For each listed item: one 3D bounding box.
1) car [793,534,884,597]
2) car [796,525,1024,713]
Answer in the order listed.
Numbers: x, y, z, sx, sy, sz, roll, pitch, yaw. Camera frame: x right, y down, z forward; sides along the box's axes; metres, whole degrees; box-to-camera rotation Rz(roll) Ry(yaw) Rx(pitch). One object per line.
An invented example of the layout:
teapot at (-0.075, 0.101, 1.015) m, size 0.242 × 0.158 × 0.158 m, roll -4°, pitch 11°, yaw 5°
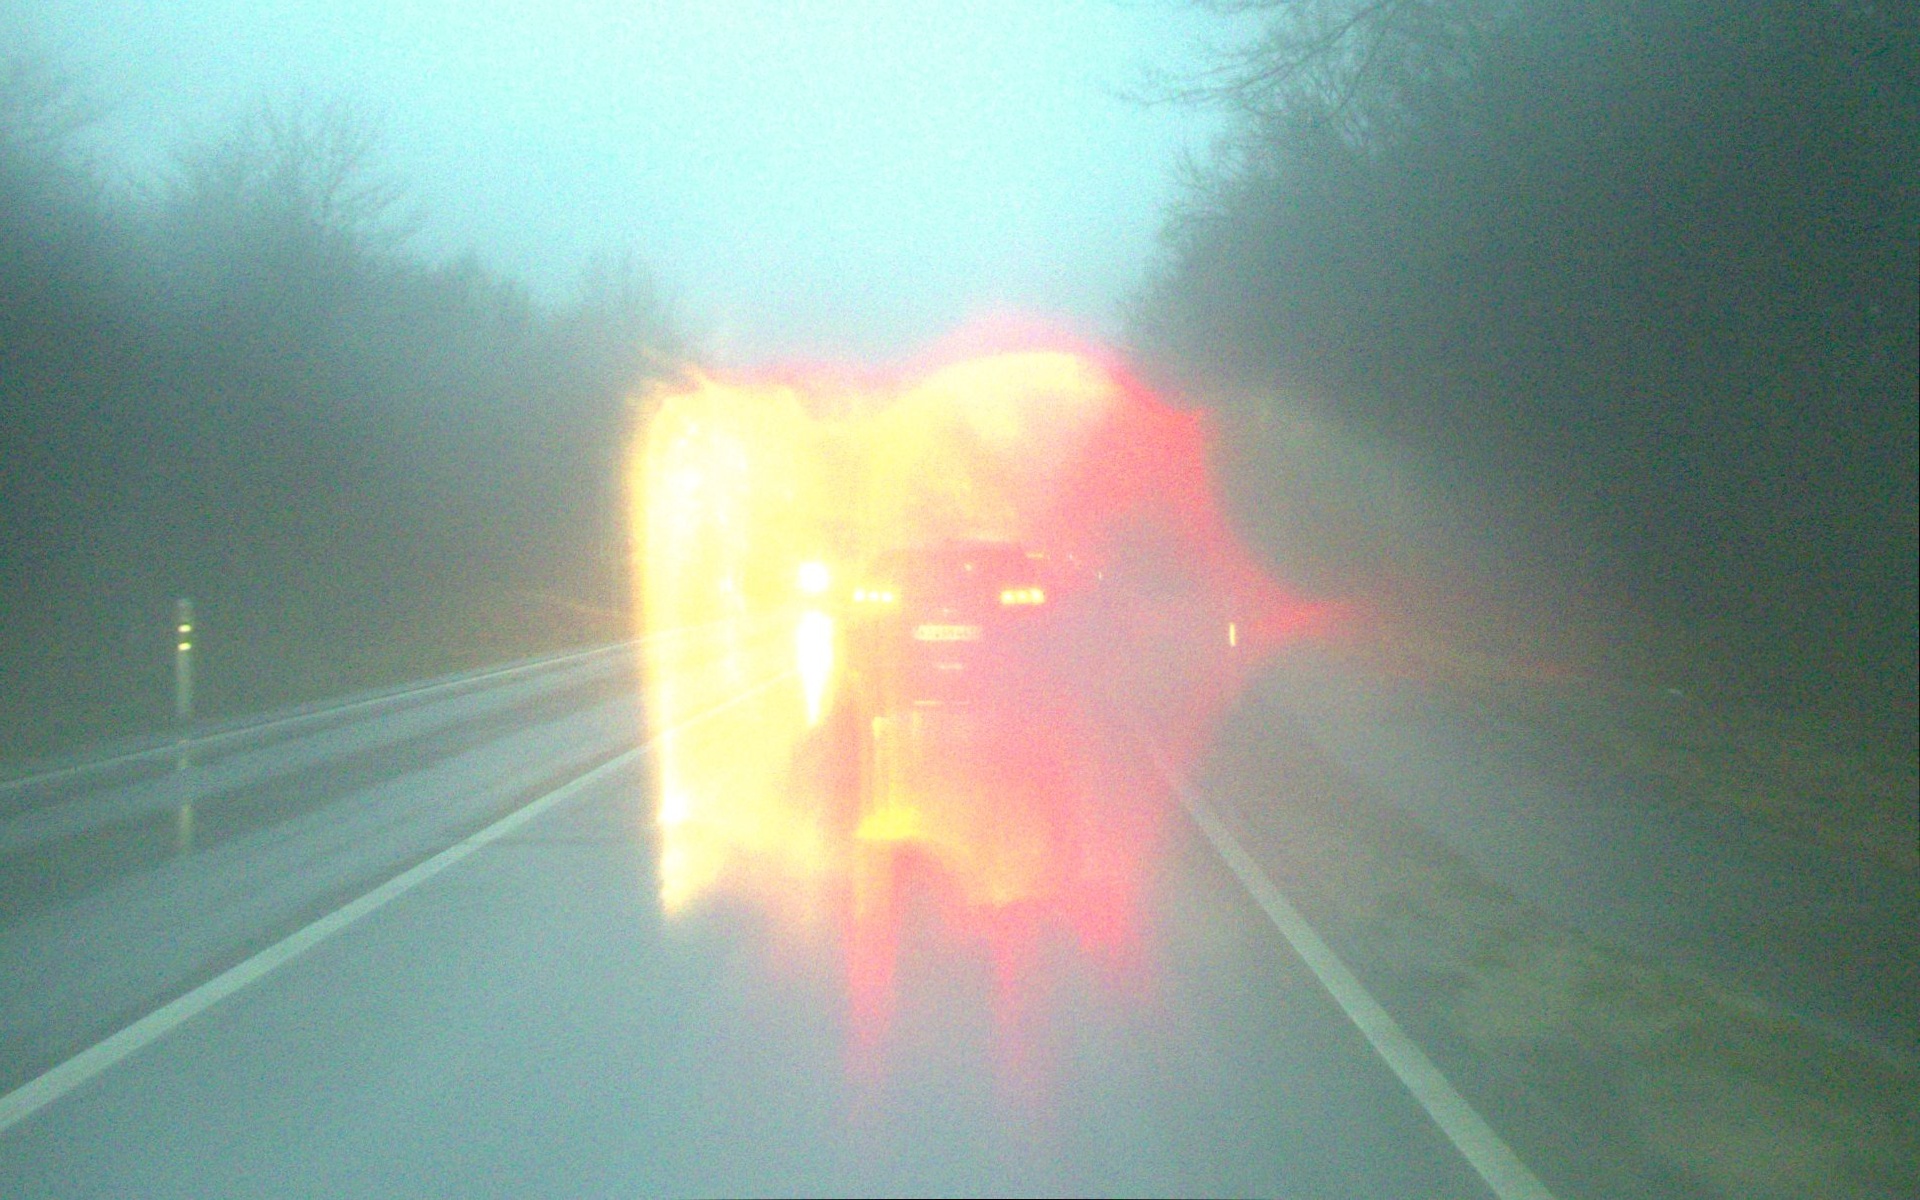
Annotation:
car at (-2.787, -0.808, 79.605) m, size 1.814 × 1.433 × 4.098 m, roll 0°, pitch 1°, yaw 2°
car at (-0.334, 0.114, 27.369) m, size 1.679 × 1.385 × 4.098 m, roll 0°, pitch 1°, yaw 1°
